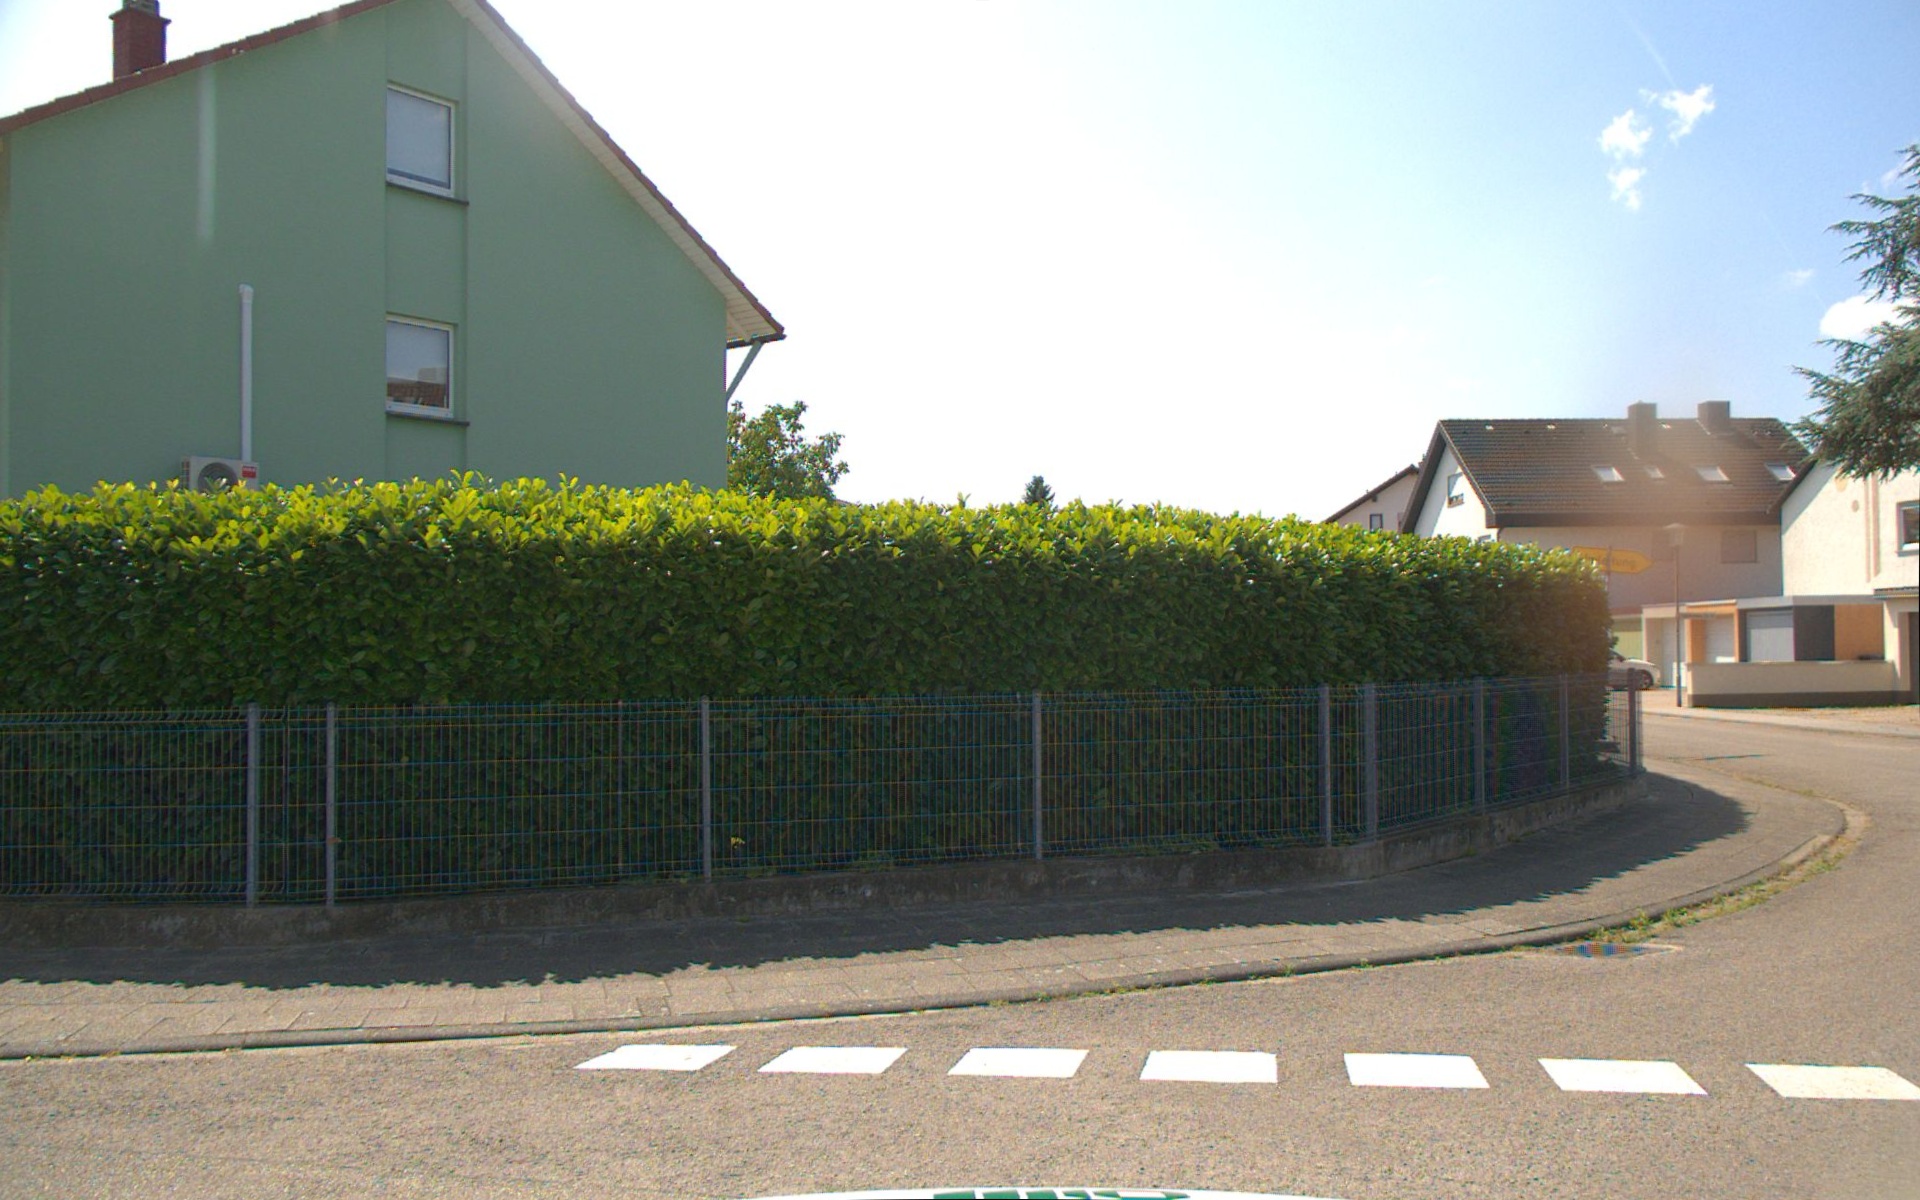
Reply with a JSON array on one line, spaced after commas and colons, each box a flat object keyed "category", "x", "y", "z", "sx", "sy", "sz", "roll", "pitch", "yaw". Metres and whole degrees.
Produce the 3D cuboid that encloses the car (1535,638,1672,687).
[{"category": "car", "x": 19.787, "y": 1.924, "z": 50.946, "sx": 3.526, "sy": 1.433, "sz": 1.783, "roll": 0, "pitch": -2, "yaw": -2}]
